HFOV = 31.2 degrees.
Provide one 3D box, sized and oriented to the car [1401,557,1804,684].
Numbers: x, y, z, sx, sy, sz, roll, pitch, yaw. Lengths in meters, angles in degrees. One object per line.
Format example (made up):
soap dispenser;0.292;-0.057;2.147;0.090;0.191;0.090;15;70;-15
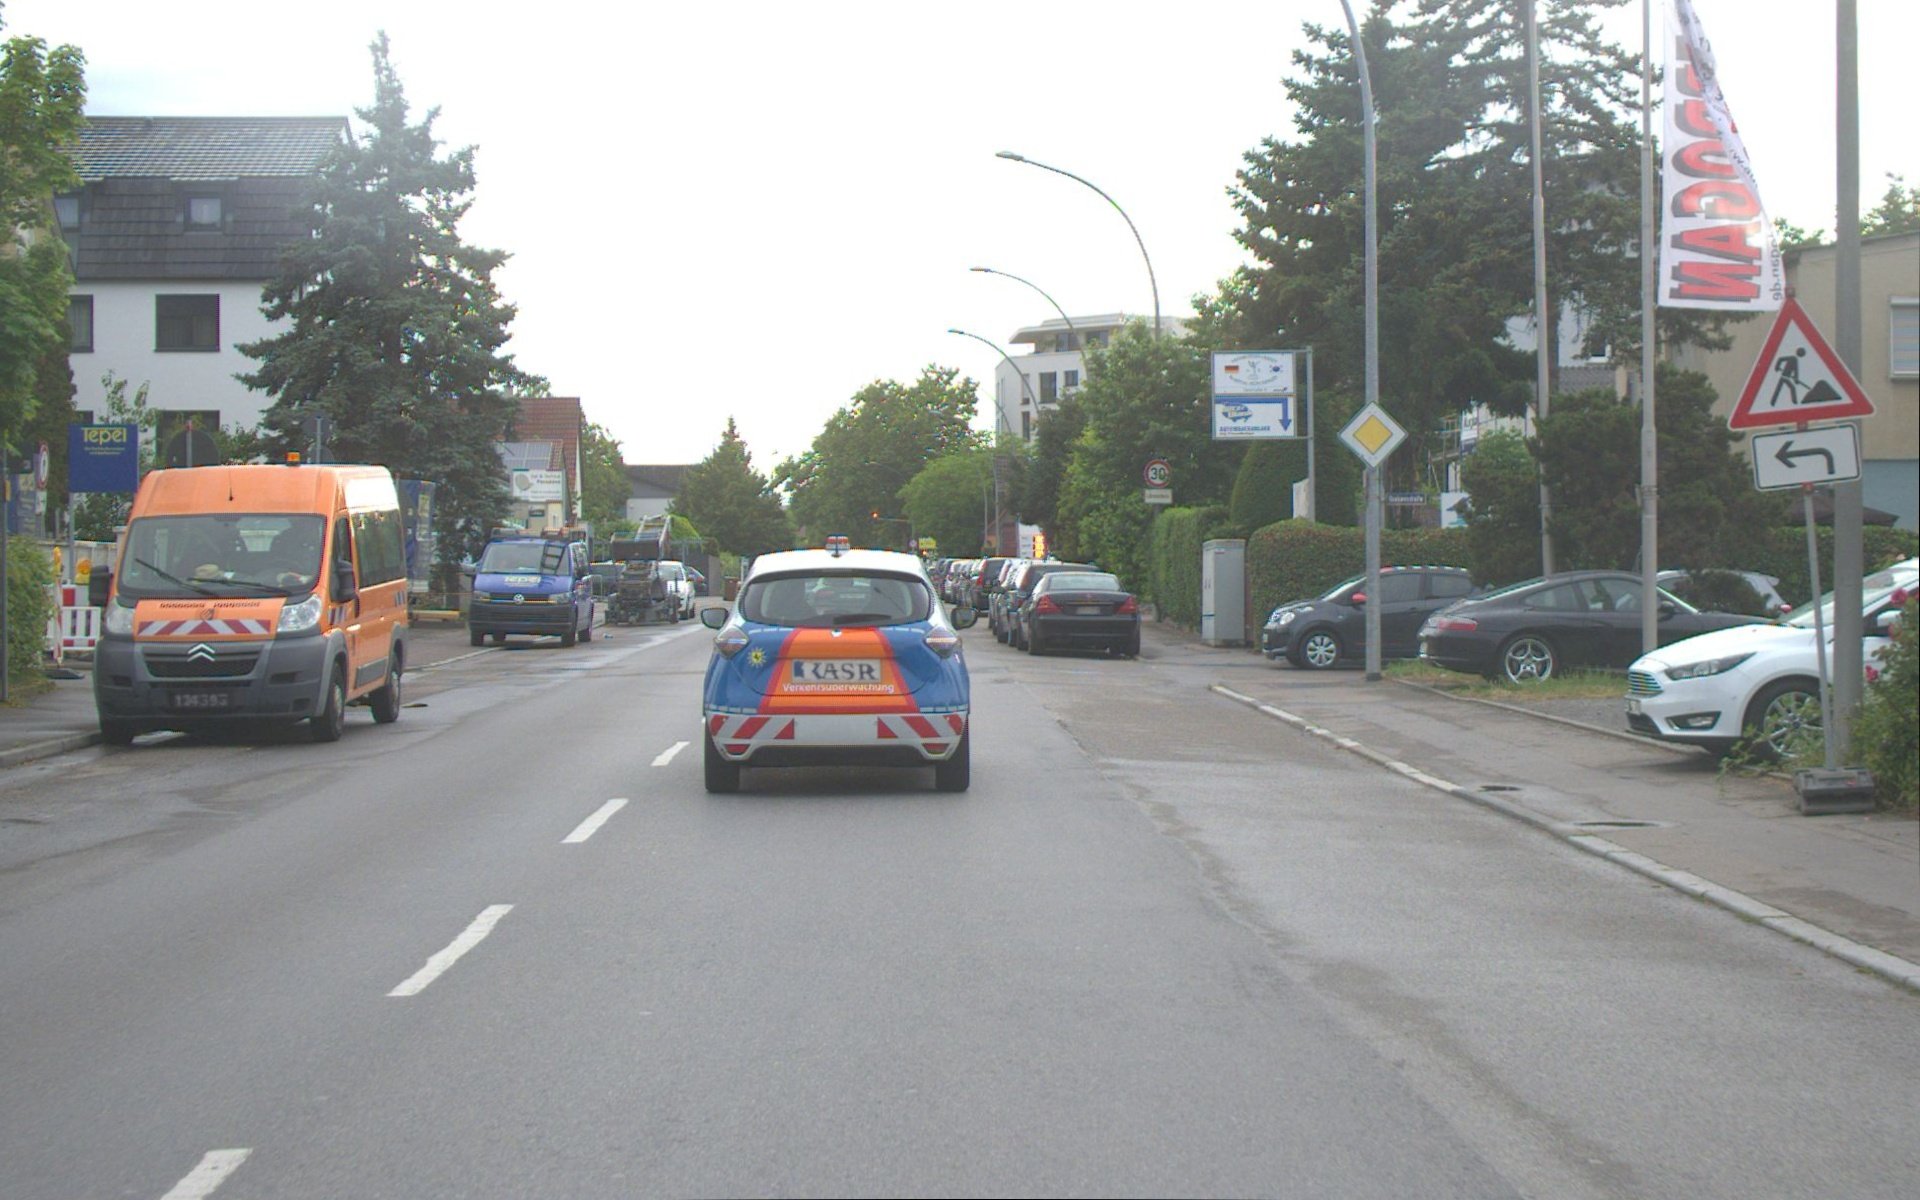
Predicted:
car;6.898;0.210;37.230;3.987;1.262;1.951;1;0;1

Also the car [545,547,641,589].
car;-13.978;-1.228;131.167;3.579;1.521;1.655;1;0;-5

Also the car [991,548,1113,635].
car;1.544;-0.159;59.036;1.656;1.414;4.778;1;0;-3

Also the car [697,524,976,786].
car;-0.826;0.330;23.138;1.731;1.625;3.495;0;0;-2

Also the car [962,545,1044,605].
car;1.055;-0.627;86.273;1.711;1.433;4.527;1;0;-3

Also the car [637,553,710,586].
car;-13.182;-1.407;158.041;3.281;1.443;1.480;-1;1;-5

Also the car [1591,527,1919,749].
car;6.779;0.259;24.022;4.337;1.470;1.903;1;0;-2

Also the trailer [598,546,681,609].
trailer;-7.528;-0.550;81.101;1.717;1.256;5.245;1;2;-3

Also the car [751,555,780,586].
car;-9.438;-1.458;167.121;1.386;1.478;3.784;0;1;-3

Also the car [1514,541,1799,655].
car;9.924;-0.029;49.155;3.614;1.533;1.860;1;0;-2

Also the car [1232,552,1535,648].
car;5.987;-0.005;48.895;3.986;1.262;1.951;1;0;-2

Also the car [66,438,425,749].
car;-6.446;-0.110;31.788;2.124;2.529;6.022;-2;1;-1

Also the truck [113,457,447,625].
truck;-13.054;-1.127;66.257;5.911;3.063;2.450;1;0;0

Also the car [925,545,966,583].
car;-0.678;-1.640;156.495;1.650;1.666;4.000;1;0;-3

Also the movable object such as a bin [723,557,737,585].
movable object such as a bin;-10.193;-1.281;152.114;0.579;1.200;0.318;1;1;-1

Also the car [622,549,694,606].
car;-7.781;-0.584;88.705;1.557;1.428;4.000;1;0;-1

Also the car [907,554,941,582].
car;-1.989;-1.765;188.417;1.650;1.478;4.000;1;0;-3

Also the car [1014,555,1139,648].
car;1.807;-0.008;54.278;1.589;1.336;4.093;2;1;-3

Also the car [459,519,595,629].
car;-7.916;-0.472;63.278;1.993;1.940;5.366;0;0;-2
